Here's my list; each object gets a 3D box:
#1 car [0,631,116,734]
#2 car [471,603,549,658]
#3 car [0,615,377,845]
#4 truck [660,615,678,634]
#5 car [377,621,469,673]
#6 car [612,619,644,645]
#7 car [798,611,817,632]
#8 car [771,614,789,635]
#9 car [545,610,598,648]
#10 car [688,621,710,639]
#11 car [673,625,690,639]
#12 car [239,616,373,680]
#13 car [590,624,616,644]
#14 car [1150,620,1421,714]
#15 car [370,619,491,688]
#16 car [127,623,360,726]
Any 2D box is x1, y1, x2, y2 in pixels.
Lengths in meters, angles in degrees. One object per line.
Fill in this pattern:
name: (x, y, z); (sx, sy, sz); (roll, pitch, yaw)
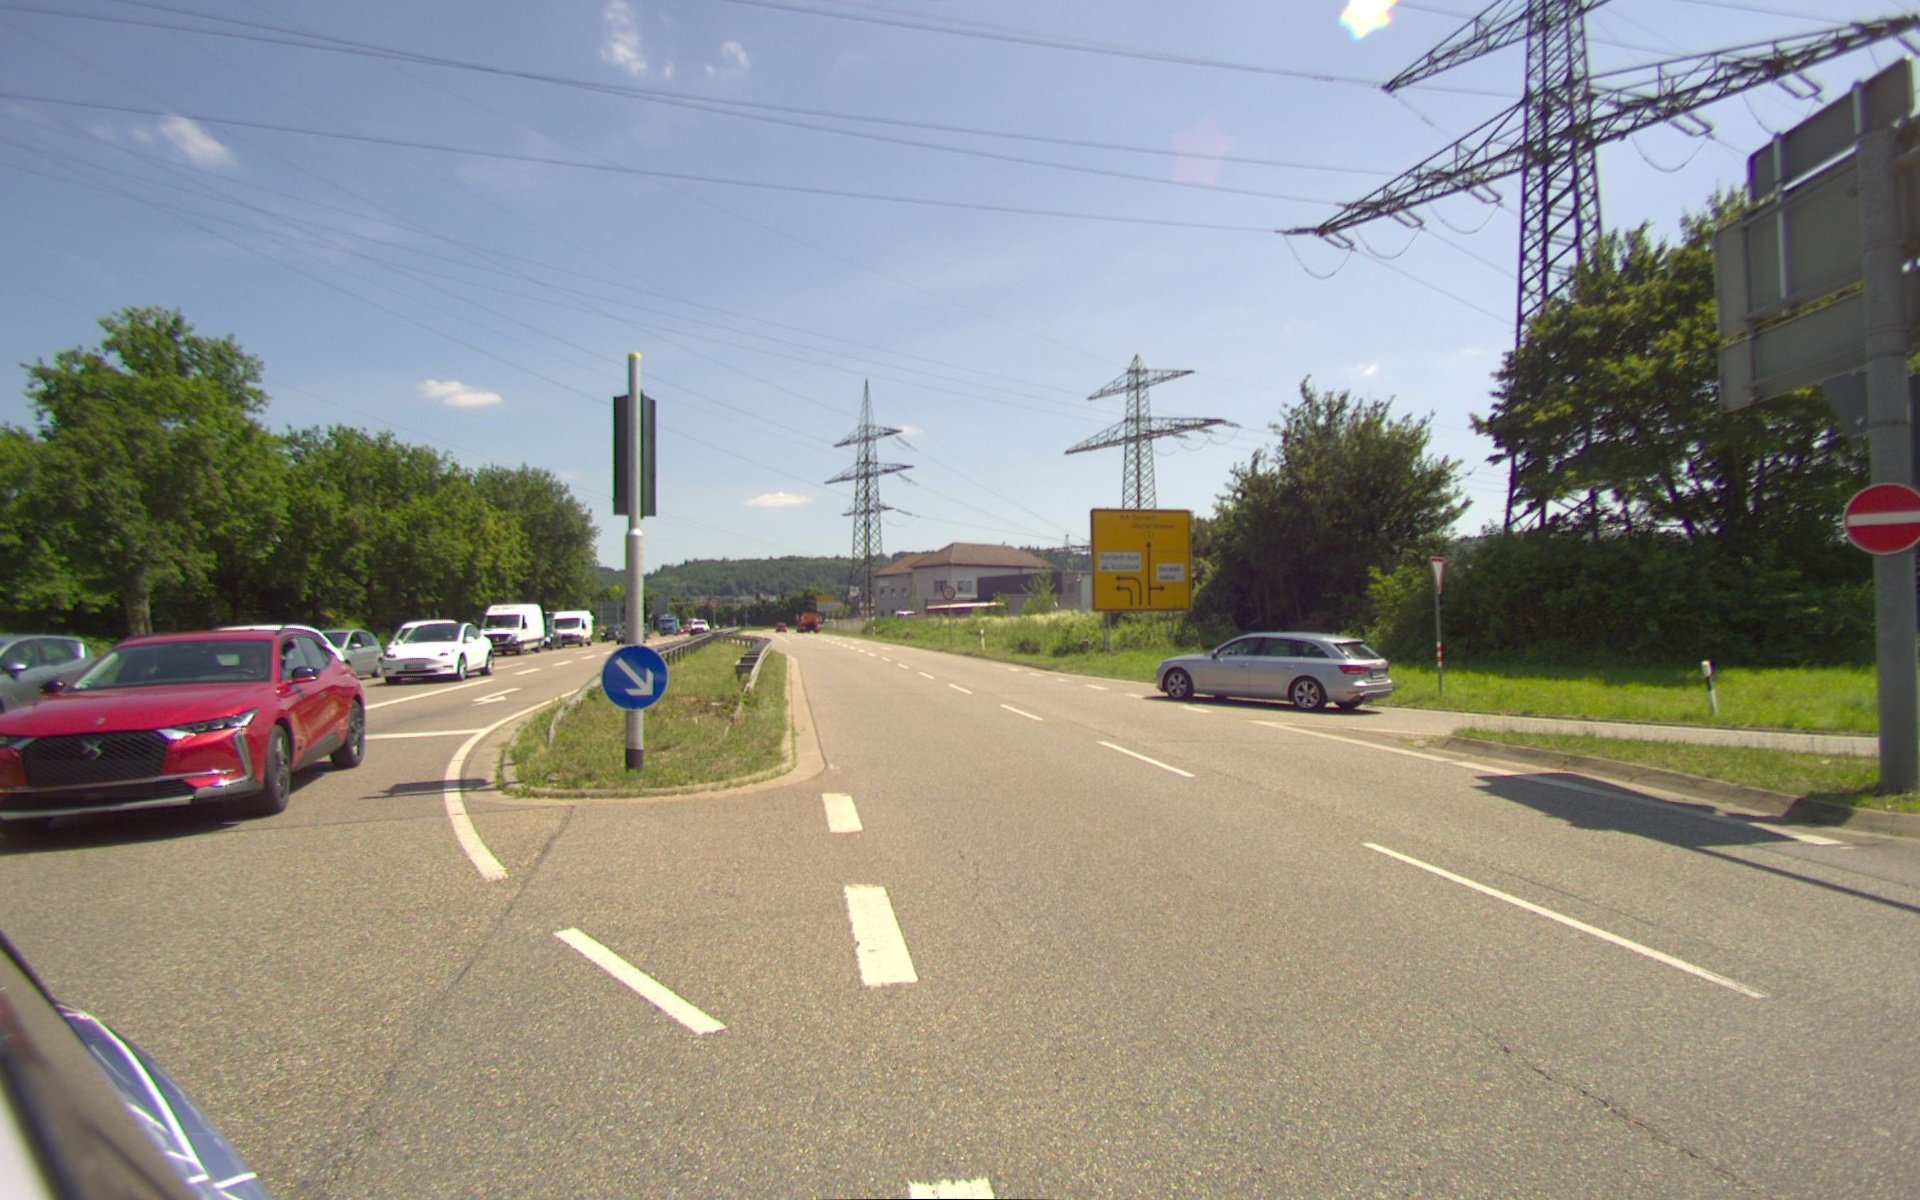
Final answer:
car: (-16.203, 1.352, 16.668); (1.741, 1.608, 4.174); (-1, -1, -11)
car: (-23.317, 1.558, 52.728); (2.198, 2.627, 7.035); (-2, -1, -12)
car: (-6.704, 0.936, 8.966); (1.816, 1.472, 4.428); (-2, -1, -19)
truck: (-41.326, 3.477, 143.798); (2.135, 2.460, 4.924); (-2, 0, -13)
car: (-20.733, 1.755, 39.309); (1.781, 1.814, 5.049); (-2, -1, -12)
car: (-24.047, 2.308, 73.355); (1.848, 1.696, 4.010); (-2, 0, -13)
car: (-23.040, 3.312, 152.719); (2.565, 3.084, 5.652); (0, -1, -12)
car: (-27.770, 3.792, 155.880); (2.566, 3.084, 5.652); (0, -1, -12)
car: (-26.654, 1.975, 69.645); (2.272, 2.441, 5.827); (-2, -1, -11)
car: (-26.804, 3.086, 104.035); (1.968, 1.776, 4.008); (0, -1, -10)
car: (-44.164, 5.098, 160.389); (1.969, 2.029, 4.006); (-2, 0, -7)
car: (-18.605, 1.318, 29.033); (1.720, 1.606, 4.282); (-2, -1, -11)
car: (-32.656, 3.079, 92.674); (1.848, 1.696, 4.010); (-2, 0, -13)
car: (6.244, 1.220, 19.817); (2.018, 1.588, 4.669); (2, -2, -44)
car: (-14.747, 1.427, 28.437); (1.990, 1.694, 4.010); (-2, -1, -13)
car: (-12.868, 1.246, 18.558); (1.821, 1.580, 4.373); (-2, -1, -11)
